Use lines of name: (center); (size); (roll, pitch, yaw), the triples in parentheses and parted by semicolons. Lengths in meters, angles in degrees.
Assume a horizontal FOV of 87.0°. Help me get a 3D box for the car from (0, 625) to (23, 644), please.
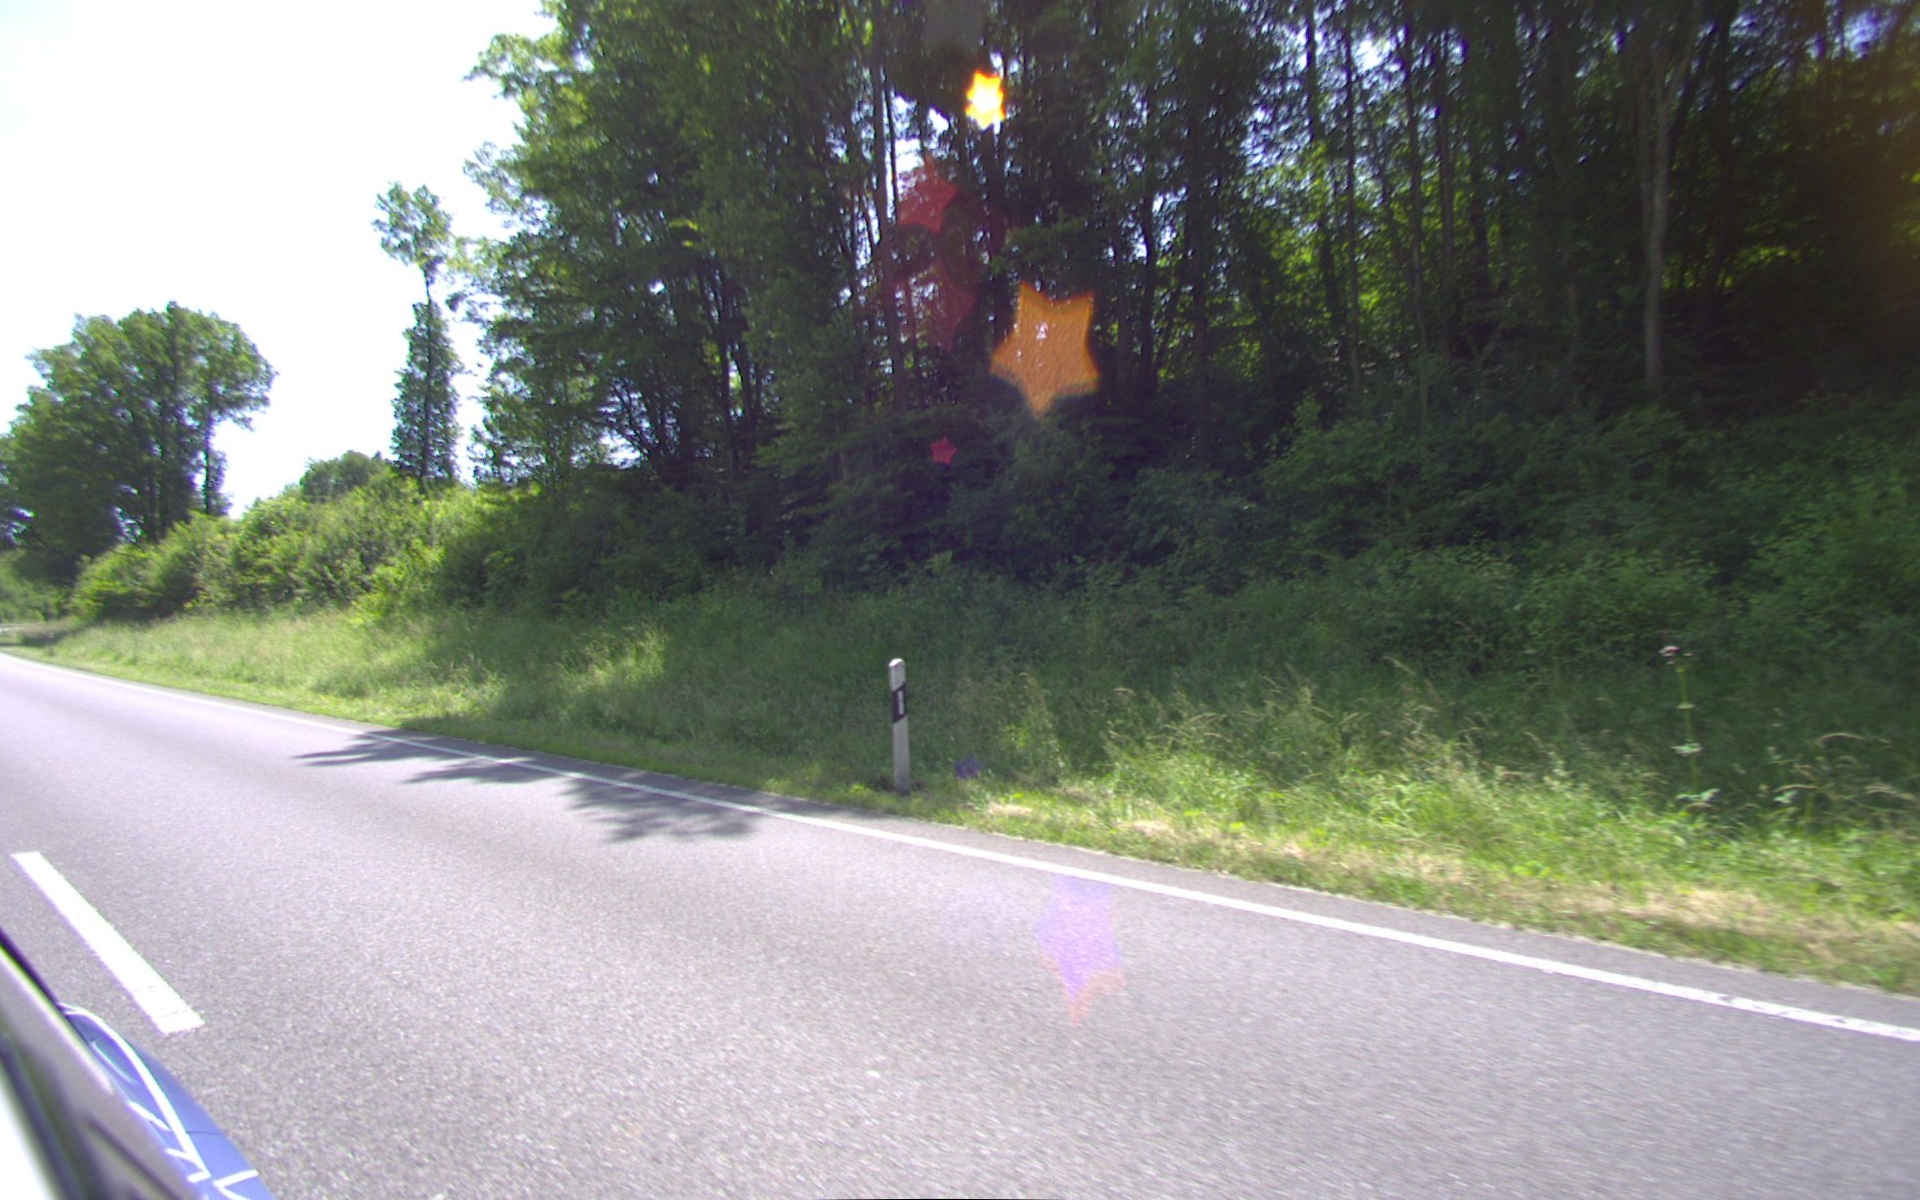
car: (-106.703, 3.844, 113.743); (1.971, 2.029, 4.002); (1, -2, -45)
